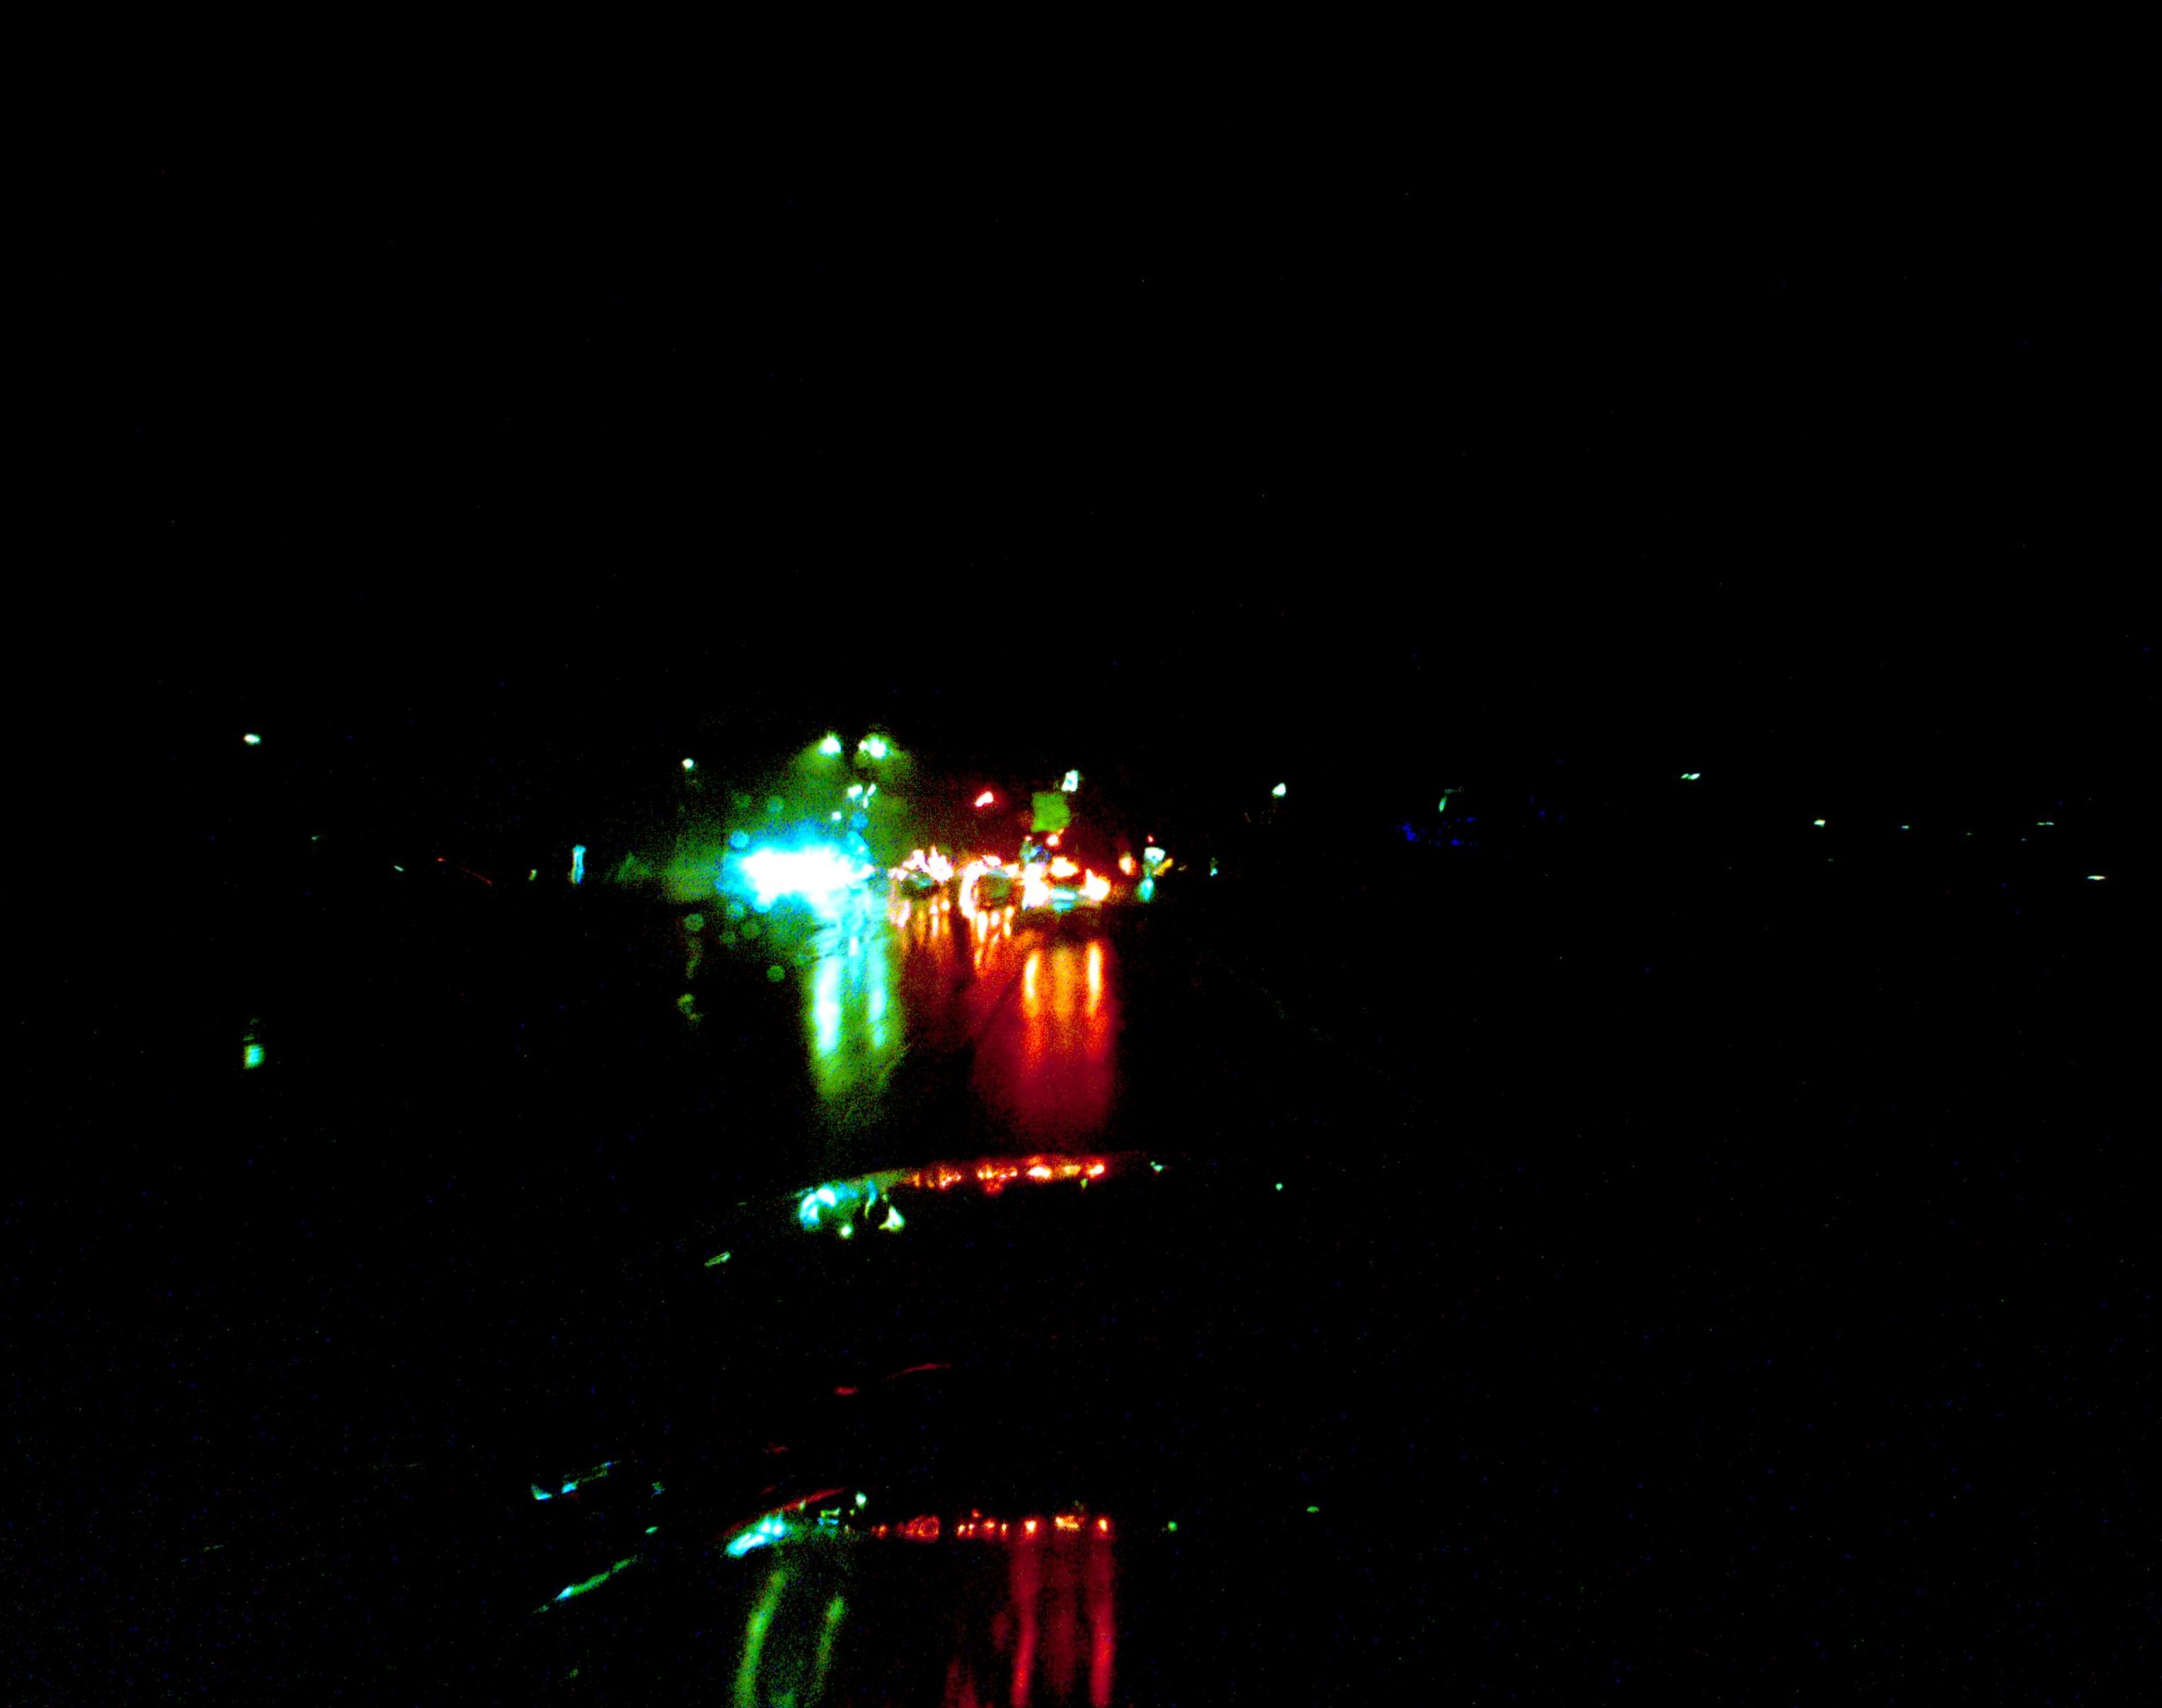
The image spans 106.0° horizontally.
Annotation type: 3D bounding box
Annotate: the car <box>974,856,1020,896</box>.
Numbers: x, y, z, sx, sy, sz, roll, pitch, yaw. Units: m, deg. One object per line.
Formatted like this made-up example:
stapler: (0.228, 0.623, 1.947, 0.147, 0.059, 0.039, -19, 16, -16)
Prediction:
car: (-3.905, 0.977, 38.615, 1.990, 1.628, 4.977, -2, 0, -4)

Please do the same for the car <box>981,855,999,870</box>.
car: (-11.207, 1.001, 100.180, 1.992, 1.628, 4.972, -2, 0, -7)

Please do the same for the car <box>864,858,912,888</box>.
car: (-11.836, 1.149, 50.243, 1.990, 1.628, 4.977, -2, 0, -4)

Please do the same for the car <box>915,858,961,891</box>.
car: (-7.986, 1.121, 46.010, 1.990, 1.628, 4.977, -2, 0, -4)

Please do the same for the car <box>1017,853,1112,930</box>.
car: (-0.300, 0.853, 19.740, 1.986, 1.628, 4.984, 0, -1, 1)

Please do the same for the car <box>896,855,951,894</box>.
car: (-7.481, 0.924, 39.127, 1.990, 1.628, 4.977, -2, 0, -4)

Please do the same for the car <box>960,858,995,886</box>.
car: (-6.832, 1.151, 54.162, 1.990, 1.628, 4.977, -2, 0, -4)

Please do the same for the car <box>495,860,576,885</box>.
car: (-36.808, 1.228, 55.098, 4.299, 1.628, 1.982, 0, -1, -28)
